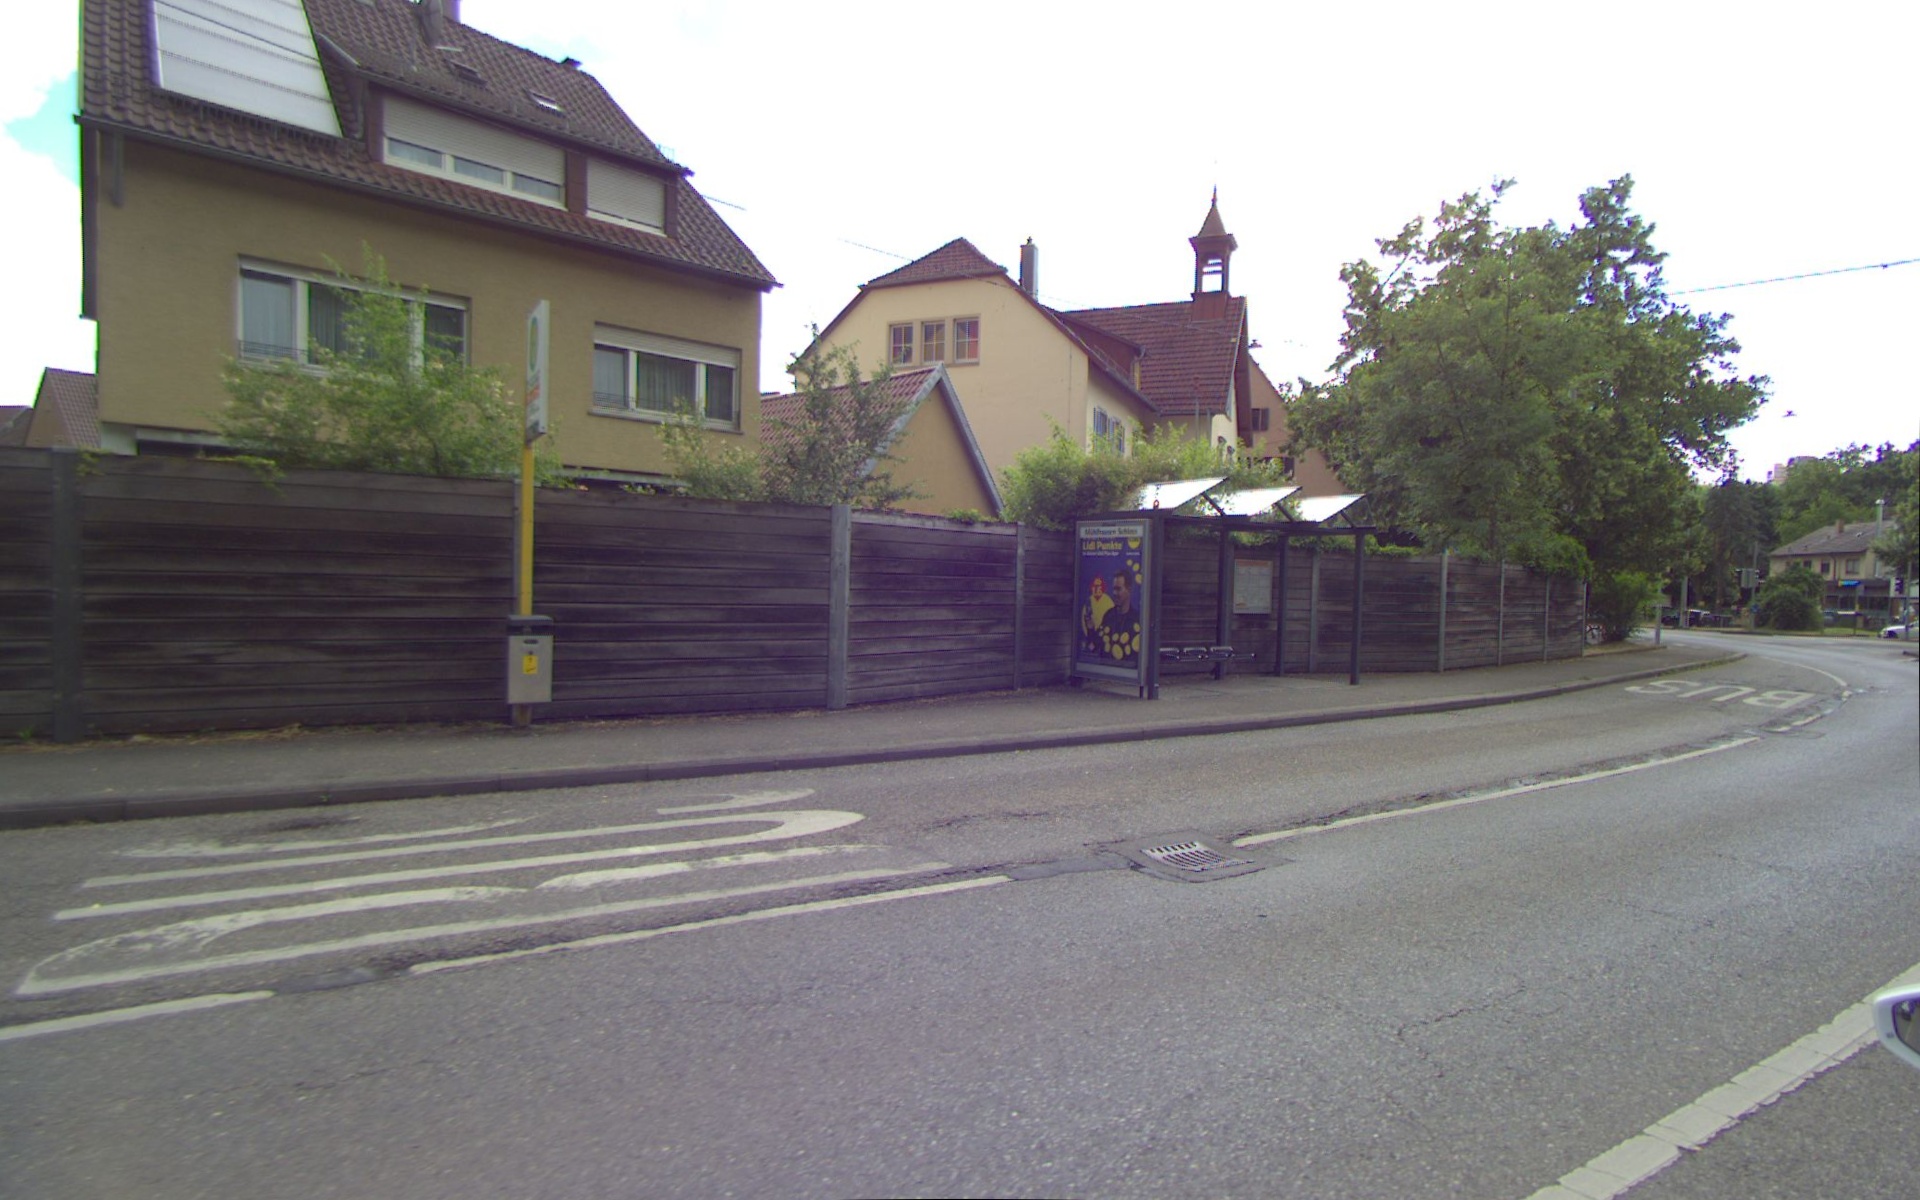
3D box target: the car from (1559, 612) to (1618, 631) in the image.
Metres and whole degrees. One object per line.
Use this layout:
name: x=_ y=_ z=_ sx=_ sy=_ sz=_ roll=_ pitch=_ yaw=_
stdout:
car: x=54.819 y=1.876 z=87.637 sx=1.971 sy=1.595 sz=3.979 roll=1 pitch=0 yaw=-22

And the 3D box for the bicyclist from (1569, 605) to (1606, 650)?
bicyclist: x=23.667 y=1.029 z=37.907 sx=1.083 sy=1.621 sz=0.939 roll=2 pitch=1 yaw=31

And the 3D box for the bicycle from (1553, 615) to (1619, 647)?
bicycle: x=23.620 y=1.159 z=37.946 sx=2.040 sy=1.096 sz=0.939 roll=2 pitch=1 yaw=31

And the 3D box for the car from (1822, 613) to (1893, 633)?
car: x=72.971 y=1.887 z=81.696 sx=3.922 sy=1.506 sz=1.759 roll=1 pitch=0 yaw=21

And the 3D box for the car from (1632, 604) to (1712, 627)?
car: x=51.827 y=1.107 z=73.223 sx=1.967 sy=1.537 sz=4.577 roll=1 pitch=0 yaw=-15

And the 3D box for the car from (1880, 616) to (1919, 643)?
car: x=56.296 y=1.726 z=57.825 sx=1.967 sy=1.537 sz=4.577 roll=1 pitch=0 yaw=-15
